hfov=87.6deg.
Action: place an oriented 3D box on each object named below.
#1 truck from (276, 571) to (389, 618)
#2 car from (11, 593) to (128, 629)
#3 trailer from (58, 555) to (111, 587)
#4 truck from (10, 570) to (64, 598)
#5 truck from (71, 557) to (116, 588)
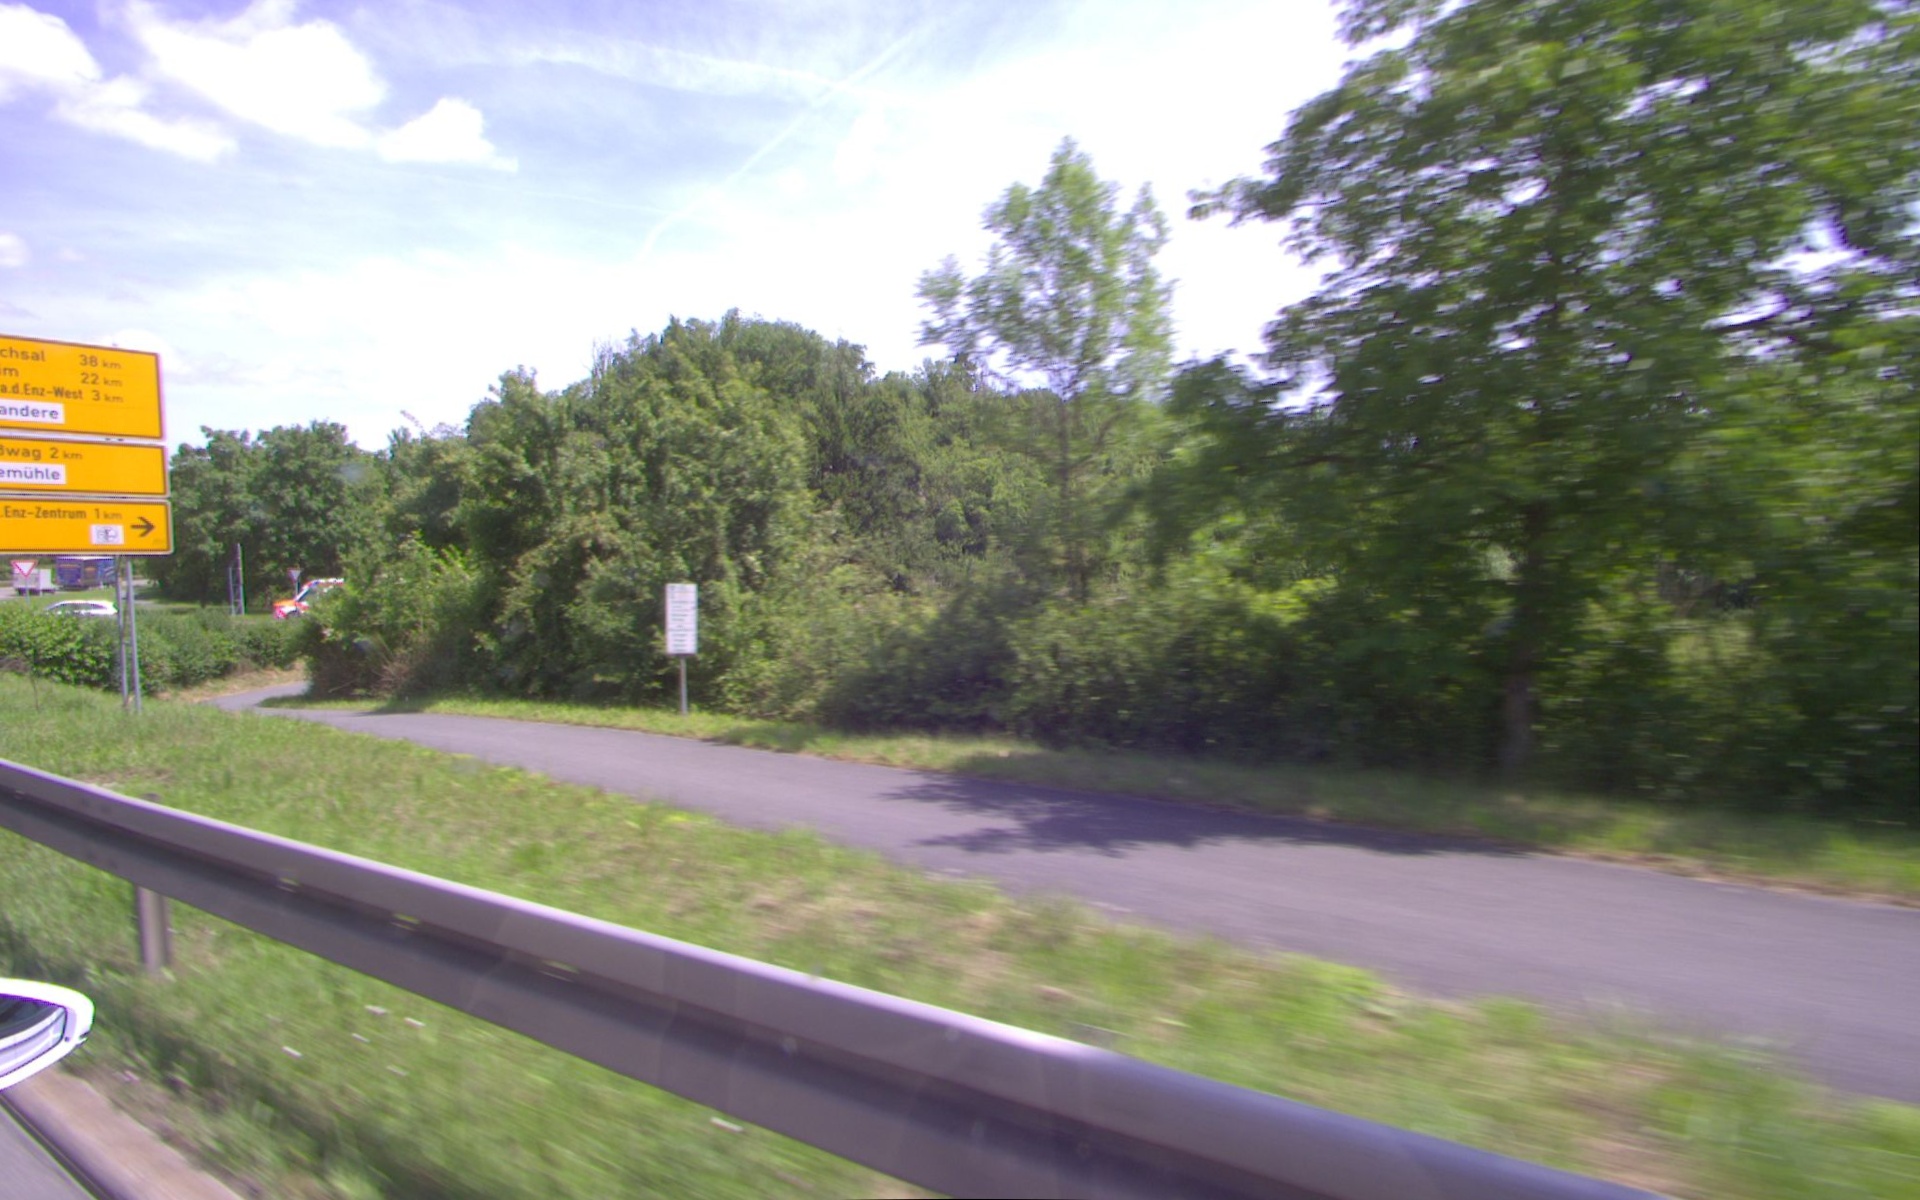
[{"bbox_3d":[-39.576,-0.270,63.302,5.948,2.762,2.488,1,-2,-32],"label":"truck"},{"bbox_3d":[-46.277,0.595,52.098,1.979,1.740,4.404,-2,-3,43],"label":"car"},{"bbox_3d":[-109.974,-3.574,125.882,3.215,3.734,9.202,0,0,-29],"label":"trailer"},{"bbox_3d":[-102.503,-1.713,111.342,2.823,2.987,7.067,1,0,-30],"label":"truck"},{"bbox_3d":[-112.054,-3.554,129.537,3.215,3.734,6.211,0,0,-30],"label":"truck"}]
